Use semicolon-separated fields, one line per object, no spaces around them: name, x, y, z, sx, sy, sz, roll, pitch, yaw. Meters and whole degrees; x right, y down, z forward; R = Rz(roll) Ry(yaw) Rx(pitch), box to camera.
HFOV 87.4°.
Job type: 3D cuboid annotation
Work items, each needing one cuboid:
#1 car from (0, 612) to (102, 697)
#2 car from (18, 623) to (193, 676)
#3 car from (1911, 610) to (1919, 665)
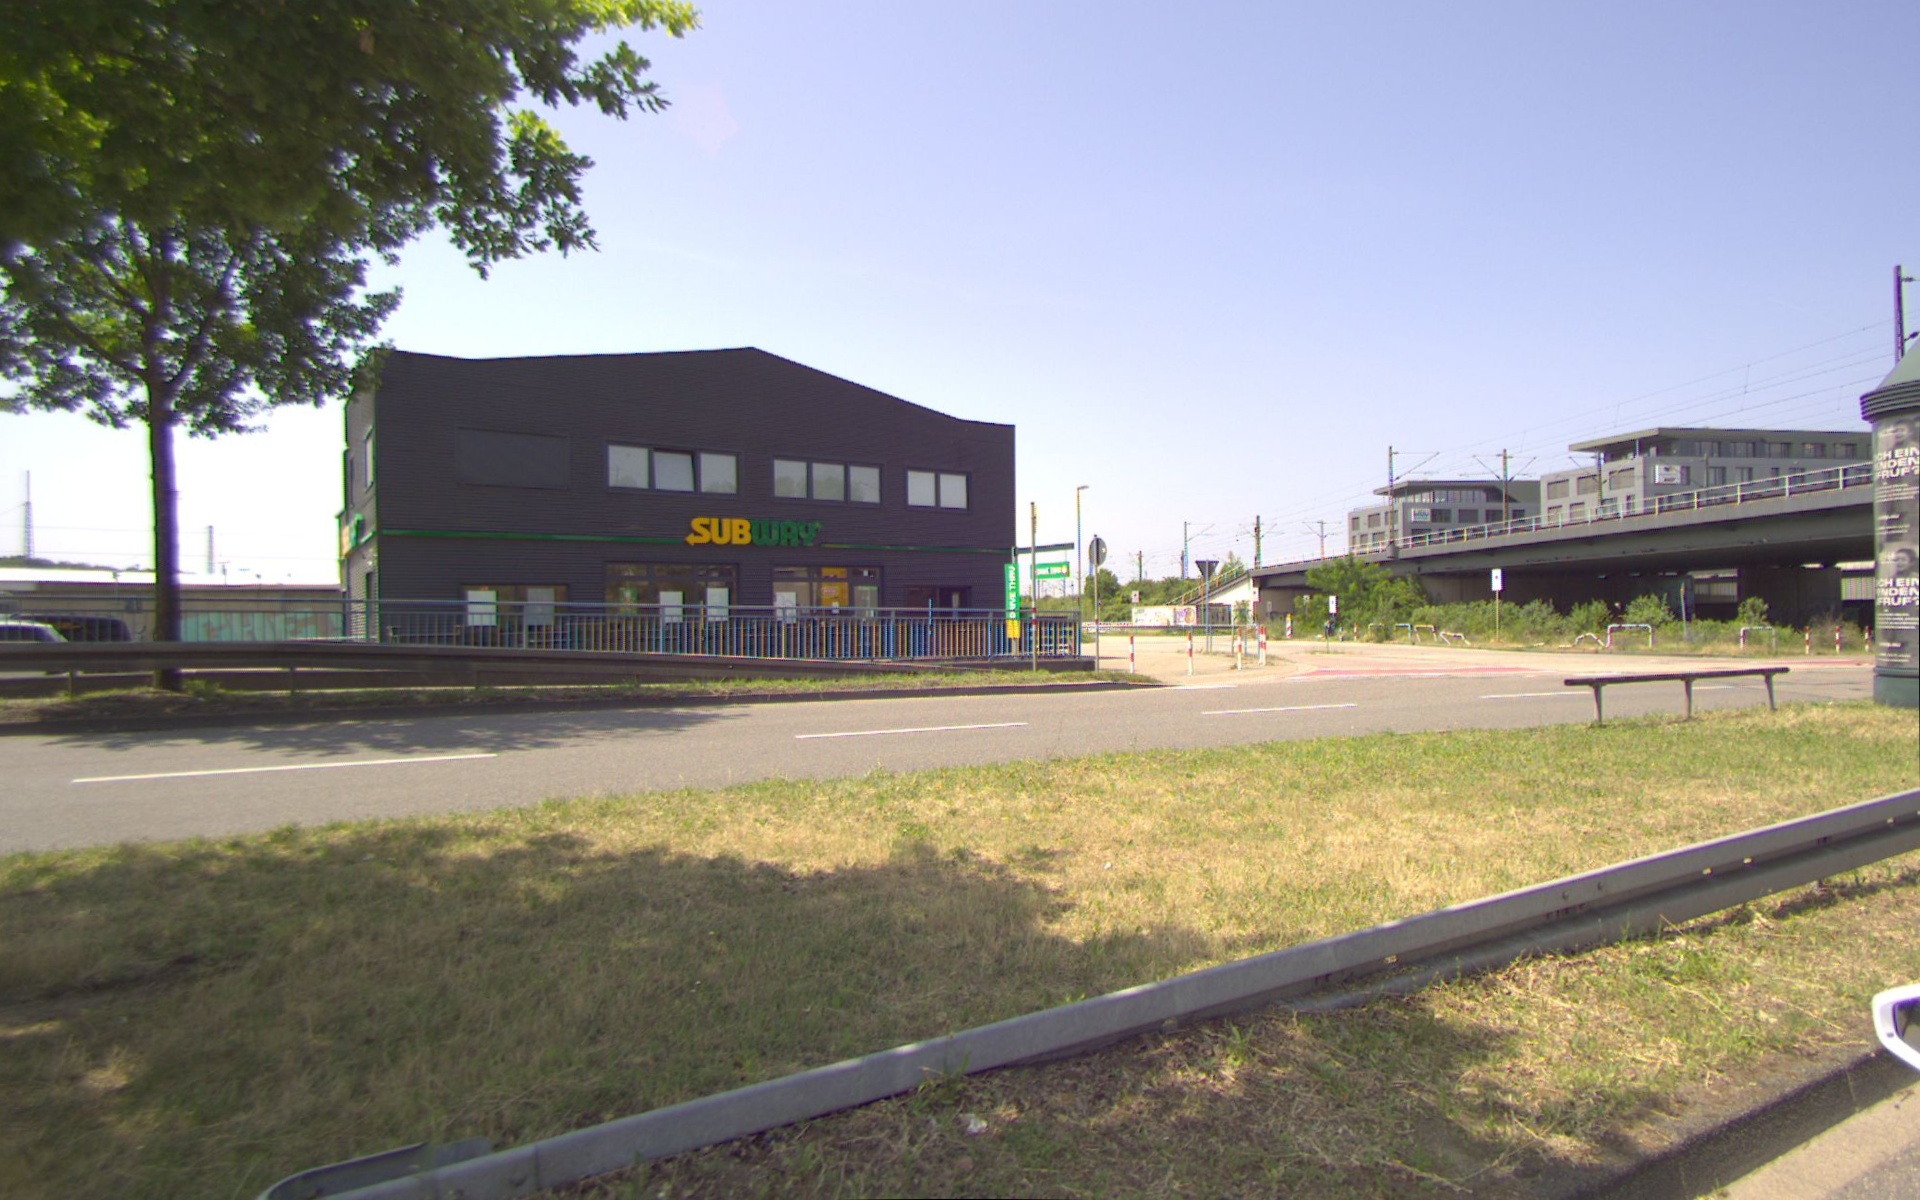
car;-16.761;0.906;16.749;1.627;1.398;3.998;1;-1;-4
car;-25.171;1.405;29.789;1.626;1.398;4.001;1;-1;3
car;26.526;0.983;25.549;4.151;1.398;1.653;1;-1;-19
